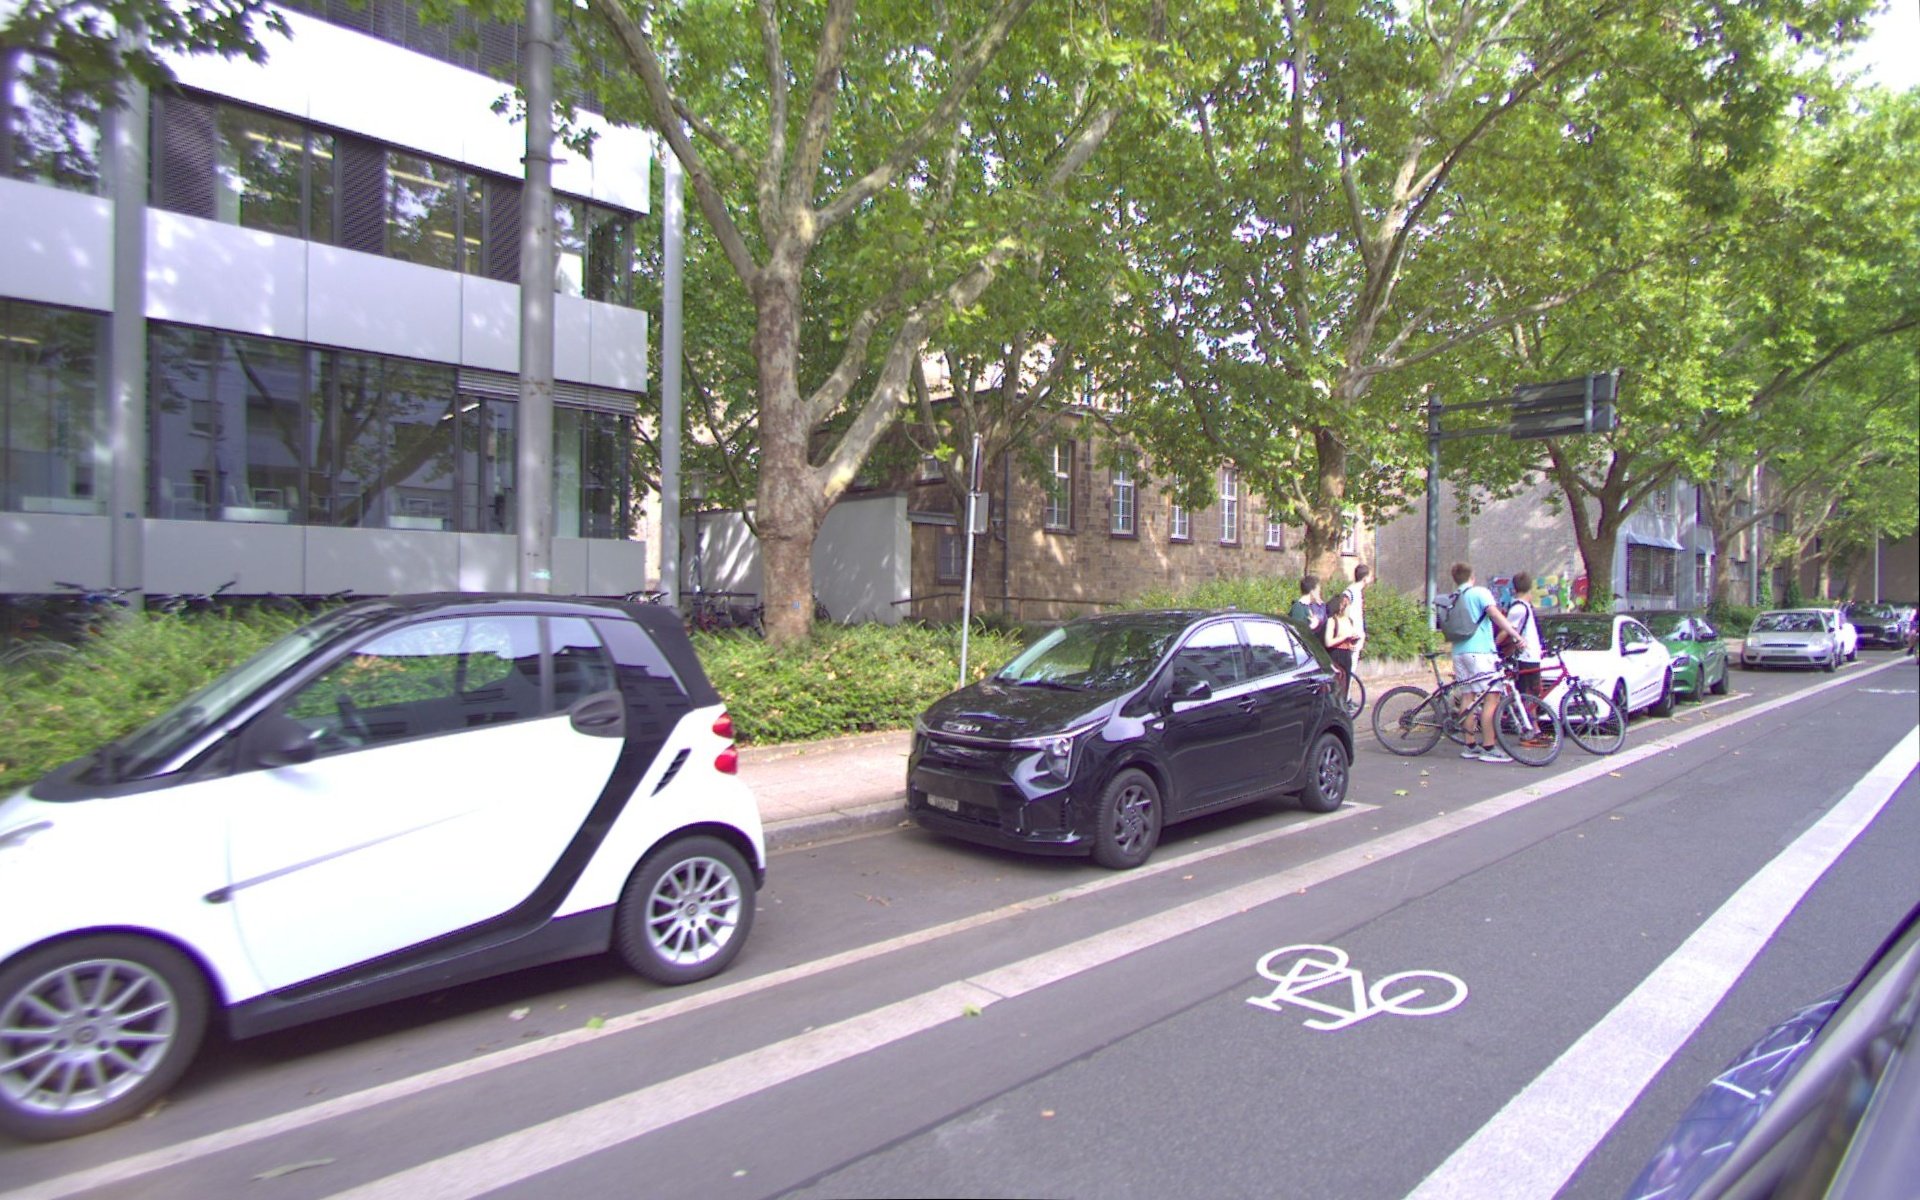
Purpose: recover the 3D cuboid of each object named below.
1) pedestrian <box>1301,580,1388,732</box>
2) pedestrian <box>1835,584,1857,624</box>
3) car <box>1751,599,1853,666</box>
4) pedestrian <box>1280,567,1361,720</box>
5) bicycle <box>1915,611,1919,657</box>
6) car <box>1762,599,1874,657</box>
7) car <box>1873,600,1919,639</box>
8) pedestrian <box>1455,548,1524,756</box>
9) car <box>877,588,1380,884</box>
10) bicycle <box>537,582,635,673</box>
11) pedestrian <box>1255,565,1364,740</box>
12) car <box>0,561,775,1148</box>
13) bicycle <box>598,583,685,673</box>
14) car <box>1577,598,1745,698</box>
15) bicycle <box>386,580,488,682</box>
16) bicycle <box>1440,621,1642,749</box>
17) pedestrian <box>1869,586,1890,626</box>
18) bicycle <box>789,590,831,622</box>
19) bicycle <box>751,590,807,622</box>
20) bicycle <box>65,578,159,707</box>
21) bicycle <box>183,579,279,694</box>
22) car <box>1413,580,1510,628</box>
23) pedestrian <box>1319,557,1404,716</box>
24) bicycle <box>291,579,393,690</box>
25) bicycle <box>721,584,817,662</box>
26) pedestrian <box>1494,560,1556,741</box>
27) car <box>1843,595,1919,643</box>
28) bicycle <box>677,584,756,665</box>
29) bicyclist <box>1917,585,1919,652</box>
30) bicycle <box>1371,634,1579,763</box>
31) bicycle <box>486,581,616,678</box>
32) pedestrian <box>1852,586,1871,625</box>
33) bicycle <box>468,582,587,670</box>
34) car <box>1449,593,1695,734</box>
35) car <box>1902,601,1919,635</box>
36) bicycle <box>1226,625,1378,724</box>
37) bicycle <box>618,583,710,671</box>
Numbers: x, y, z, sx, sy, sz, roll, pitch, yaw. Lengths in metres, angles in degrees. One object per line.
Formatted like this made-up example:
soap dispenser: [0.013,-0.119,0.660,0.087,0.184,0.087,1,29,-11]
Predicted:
pedestrian: [4.445,0.619,11.713,0.643,1.679,0.722,0,-1,-42]
pedestrian: [42.455,0.185,48.492,0.635,1.855,0.643,0,4,-43]
car: [20.264,0.730,24.316,1.642,1.466,3.822,-2,-1,43]
pedestrian: [4.602,0.538,12.928,0.691,1.878,0.722,0,-1,-42]
bicycle: [25.408,0.869,26.240,1.916,1.183,0.762,0,-1,-42]
car: [23.380,0.717,27.526,4.145,1.466,1.756,0,-1,-42]
car: [37.480,0.749,39.971,4.495,1.451,1.641,0,-1,-42]
pedestrian: [5.237,0.491,9.997,0.473,1.959,0.735,-1,-1,37]
car: [1.319,0.704,6.999,3.597,1.521,1.530,0,-1,-42]
bicycle: [-5.011,0.346,13.542,1.373,1.131,0.505,2,1,34]
pedestrian: [3.868,0.550,11.213,0.767,1.840,0.872,0,-1,-42]
car: [-2.233,0.682,3.978,2.552,1.563,1.538,0,-1,-40]
bicycle: [-4.316,0.355,13.658,1.377,1.131,0.461,2,1,41]
car: [11.679,0.727,16.772,3.743,1.468,1.588,0,-2,-45]
bicycle: [-6.513,0.339,12.545,0.662,1.131,1.918,0,2,-42]
bicycle: [6.036,0.847,10.596,1.780,1.233,0.547,0,-1,31]
pedestrian: [43.033,0.264,47.373,0.468,1.806,0.591,0,4,-43]
bicycle: [-4.432,0.159,29.894,0.499,0.889,1.624,-2,2,-37]
bicycle: [-5.456,0.171,30.489,1.595,0.889,0.478,-2,2,-36]
bicycle: [-8.549,0.365,10.168,0.662,1.131,2.082,0,2,-42]
bicycle: [-8.097,0.356,11.205,0.662,1.131,1.918,0,2,-42]
car: [17.243,0.170,34.725,4.225,1.468,1.670,3,-2,-44]
pedestrian: [5.322,0.469,13.424,0.737,2.023,0.794,0,-1,-42]
bicycle: [-7.126,0.348,11.624,0.662,1.131,1.918,0,2,-42]
bicycle: [-3.033,0.333,15.993,1.673,1.131,0.595,2,1,42]
pedestrian: [6.097,0.526,10.913,0.518,1.869,0.736,-1,-1,33]
car: [33.374,0.655,36.493,4.407,1.642,1.922,0,-1,-44]
bicycle: [-3.671,0.340,15.196,0.461,1.131,1.446,0,1,-44]
bicyclist: [25.361,0.487,26.200,0.901,1.730,0.763,0,-1,-42]
bicycle: [4.987,0.914,9.865,1.730,1.119,0.545,0,-1,38]
bicycle: [-5.237,0.347,12.938,1.685,1.131,0.616,2,1,30]
pedestrian: [42.639,0.254,47.866,0.518,1.806,0.502,0,4,-43]
bicycle: [-5.923,0.335,13.895,0.491,1.131,1.416,2,1,42]
car: [8.130,0.713,13.253,4.470,1.535,1.681,0,-2,-45]
car: [44.853,0.797,46.707,4.364,1.524,1.600,0,-1,-42]
bicycle: [4.285,0.906,12.743,1.762,1.146,0.456,0,-1,37]
bicycle: [-4.147,0.350,14.126,1.538,1.131,0.461,2,1,41]
